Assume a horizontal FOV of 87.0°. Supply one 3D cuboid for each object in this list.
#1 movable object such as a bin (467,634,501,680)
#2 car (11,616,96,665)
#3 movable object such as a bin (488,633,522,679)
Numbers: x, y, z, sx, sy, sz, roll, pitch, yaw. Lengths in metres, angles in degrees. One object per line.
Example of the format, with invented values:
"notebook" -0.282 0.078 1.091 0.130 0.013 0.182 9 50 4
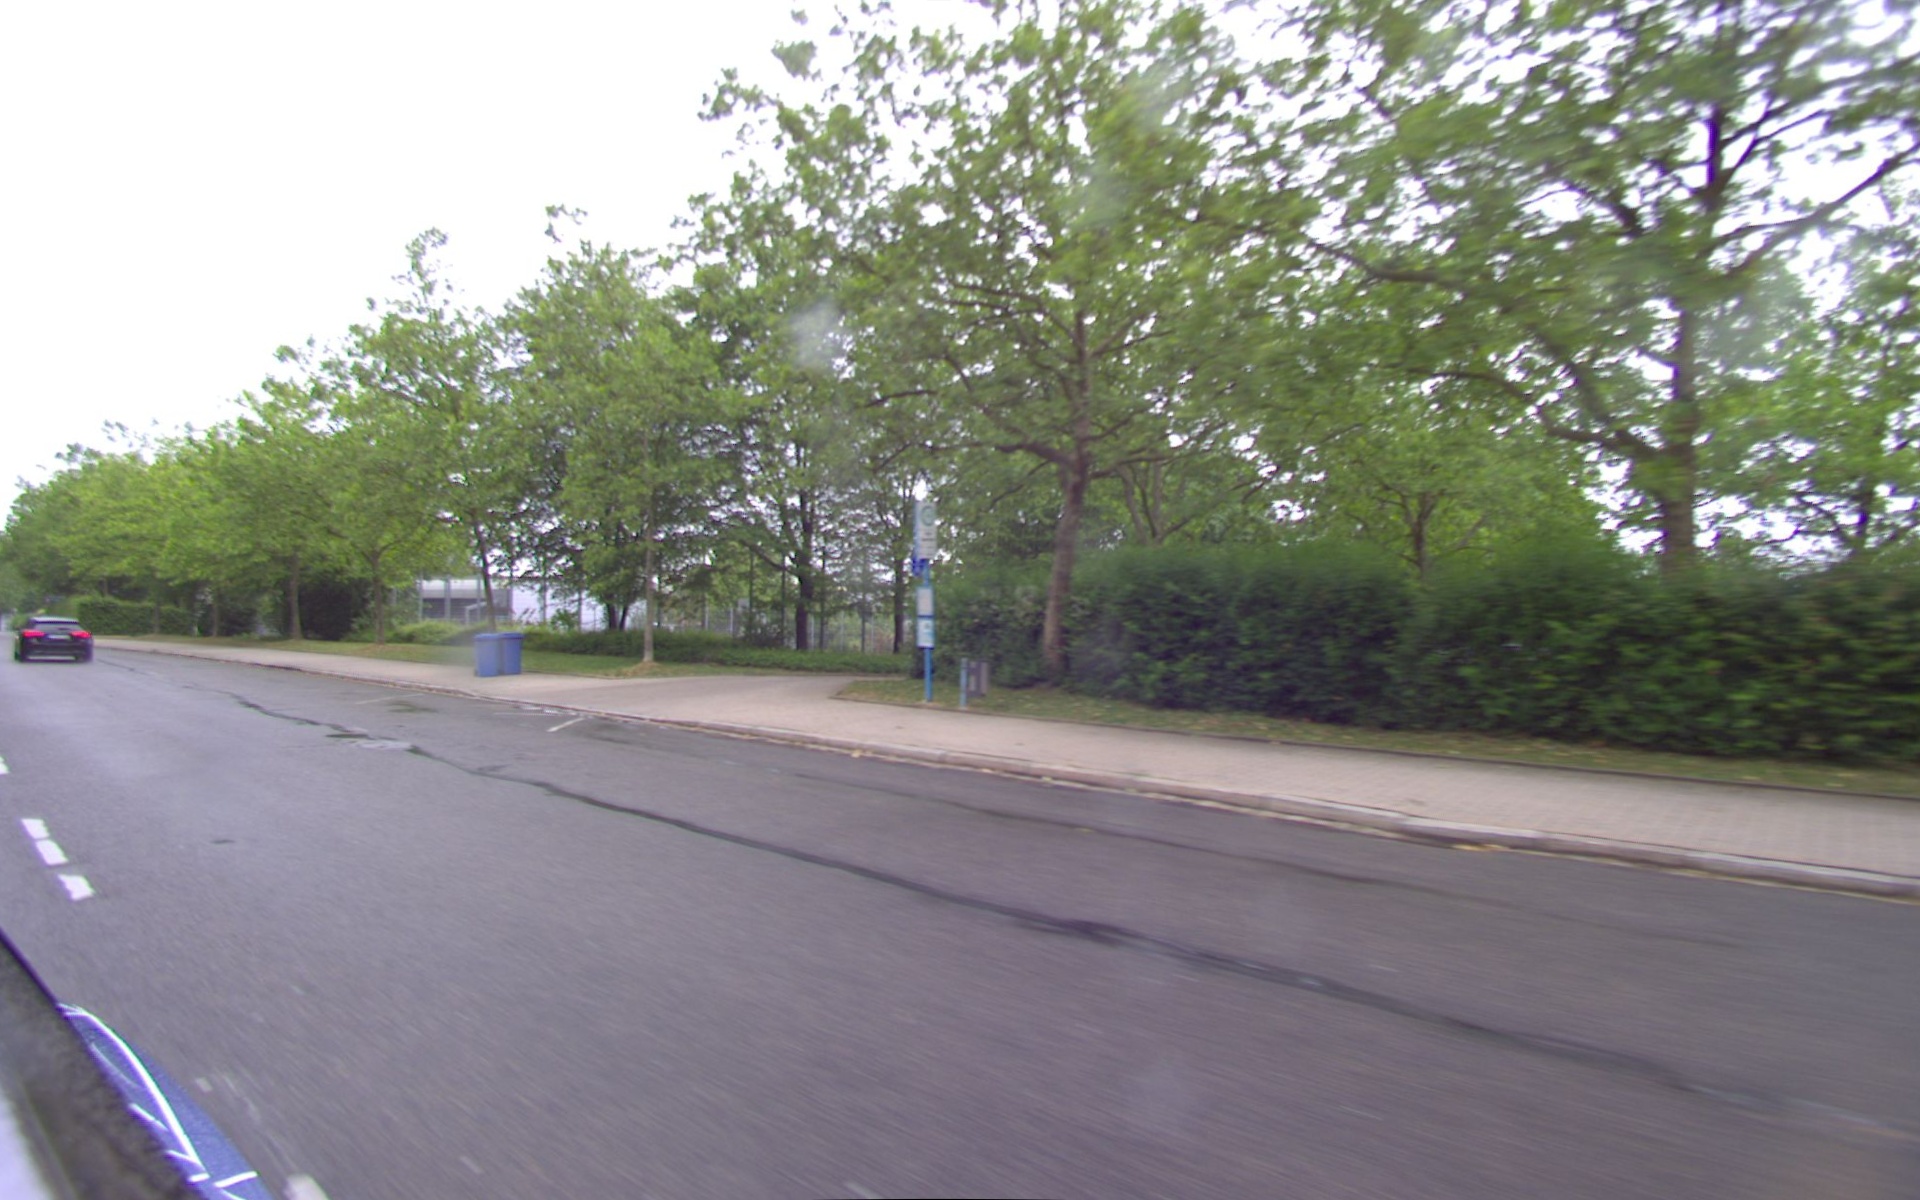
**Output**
"movable object such as a bin" -11.786 1.402 25.072 0.560 1.107 0.672 -2 0 -44
"car" -29.434 1.299 32.814 1.805 1.476 4.002 3 -3 -45
"movable object such as a bin" -11.546 1.404 25.679 0.560 1.107 0.672 -2 0 -44
